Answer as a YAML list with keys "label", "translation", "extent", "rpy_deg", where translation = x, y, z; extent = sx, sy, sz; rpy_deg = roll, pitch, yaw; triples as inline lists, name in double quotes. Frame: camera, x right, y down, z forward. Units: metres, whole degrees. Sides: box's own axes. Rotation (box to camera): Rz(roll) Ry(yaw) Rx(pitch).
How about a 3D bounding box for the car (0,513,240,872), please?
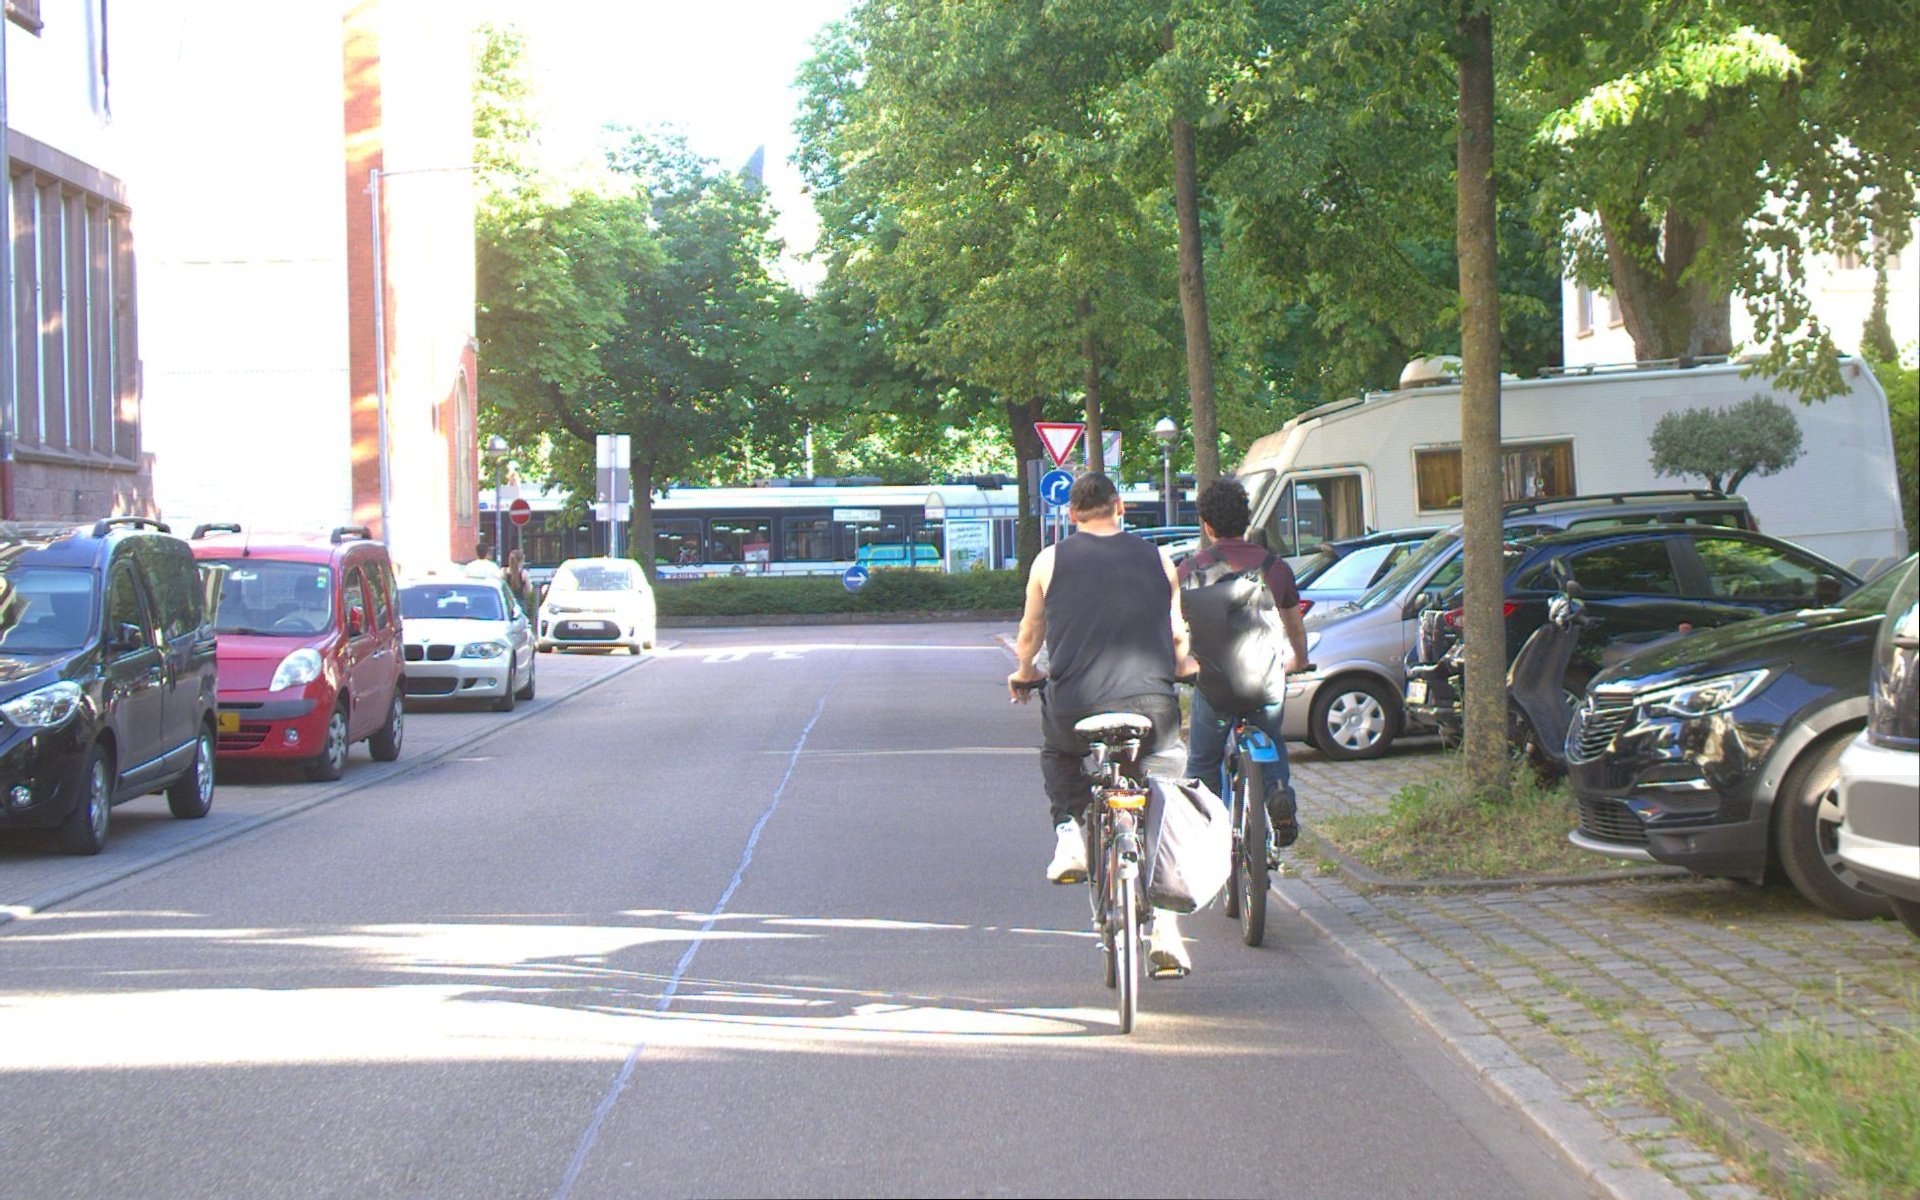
- label: "car"
  translation: [-5.339, 0.407, 19.391]
  extent: [1.640, 1.777, 4.354]
  rpy_deg: [1, 1, 0]

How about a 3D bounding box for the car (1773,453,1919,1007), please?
- label: "car"
  translation: [4.630, 0.309, 10.698]
  extent: [3.773, 1.594, 1.691]
  rpy_deg: [-2, 1, 1]

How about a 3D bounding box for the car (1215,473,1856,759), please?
- label: "car"
  translation: [3.977, 0.097, 24.154]
  extent: [4.082, 1.644, 1.641]
  rpy_deg: [-4, 1, -2]

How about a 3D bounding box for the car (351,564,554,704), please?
- label: "car"
  translation: [-5.432, 0.329, 37.185]
  extent: [1.583, 1.339, 4.131]
  rpy_deg: [1, 1, 0]

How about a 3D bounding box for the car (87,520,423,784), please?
- label: "car"
  translation: [-5.290, 0.318, 26.294]
  extent: [1.688, 1.819, 4.273]
  rpy_deg: [1, 1, 0]

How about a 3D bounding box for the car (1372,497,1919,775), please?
- label: "car"
  translation: [4.820, 0.212, 21.652]
  extent: [4.138, 1.594, 1.702]
  rpy_deg: [-2, -1, -3]

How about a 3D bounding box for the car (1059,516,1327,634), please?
- label: "car"
  translation: [3.620, -0.390, 53.888]
  extent: [3.986, 1.797, 1.834]
  rpy_deg: [0, 0, -3]

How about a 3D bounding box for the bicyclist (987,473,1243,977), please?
- label: "bicyclist"
  translation: [0.480, 0.384, 11.017]
  extent: [0.729, 1.542, 0.884]
  rpy_deg: [1, 0, -2]

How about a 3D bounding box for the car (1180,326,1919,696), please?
- label: "car"
  translation: [5.796, -0.831, 31.714]
  extent: [7.146, 2.968, 2.465]
  rpy_deg: [-3, 1, -3]

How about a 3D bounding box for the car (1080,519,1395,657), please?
- label: "car"
  translation: [3.674, -0.158, 46.002]
  extent: [3.986, 1.797, 1.834]
  rpy_deg: [0, 0, -3]

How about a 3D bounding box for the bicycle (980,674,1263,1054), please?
- label: "bicycle"
  translation: [0.476, 0.791, 10.980]
  extent: [0.737, 1.050, 1.956]
  rpy_deg: [1, 0, -2]

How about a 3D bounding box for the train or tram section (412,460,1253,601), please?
- label: "train or tram section"
  translation: [-3.287, -1.846, 97.334]
  extent: [23.800, 3.696, 4.287]
  rpy_deg: [0, 0, -23]

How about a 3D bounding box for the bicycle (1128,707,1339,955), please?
- label: "bicycle"
  translation: [1.044, 0.873, 13.480]
  extent: [0.633, 0.796, 1.833]
  rpy_deg: [-2, 1, -1]

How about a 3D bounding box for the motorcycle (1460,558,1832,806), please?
- label: "motorcycle"
  translation: [3.316, 0.389, 16.660]
  extent: [1.605, 1.137, 0.671]
  rpy_deg: [-1, 1, 33]

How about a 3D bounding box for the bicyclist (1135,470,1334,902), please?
- label: "bicyclist"
  translation: [1.056, 0.316, 13.416]
  extent: [0.689, 1.621, 0.998]
  rpy_deg: [0, 1, 0]

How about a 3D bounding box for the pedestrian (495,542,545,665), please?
- label: "pedestrian"
  translation: [-6.020, 0.047, 47.044]
  extent: [0.609, 1.673, 0.518]
  rpy_deg: [0, 0, 0]

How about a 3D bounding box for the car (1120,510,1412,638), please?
- label: "car"
  translation: [4.399, -0.368, 49.760]
  extent: [3.986, 1.797, 1.834]
  rpy_deg: [0, 0, -3]

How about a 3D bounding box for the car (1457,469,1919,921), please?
- label: "car"
  translation: [4.124, 0.318, 13.267]
  extent: [4.139, 1.594, 1.702]
  rpy_deg: [-2, -1, 1]

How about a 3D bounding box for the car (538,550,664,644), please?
- label: "car"
  translation: [-5.688, -0.070, 54.833]
  extent: [1.583, 1.371, 4.131]
  rpy_deg: [1, 1, 0]

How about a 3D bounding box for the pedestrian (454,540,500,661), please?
- label: "pedestrian"
  translation: [-7.067, 0.004, 50.271]
  extent: [0.609, 1.756, 0.432]
  rpy_deg: [0, 0, 0]
